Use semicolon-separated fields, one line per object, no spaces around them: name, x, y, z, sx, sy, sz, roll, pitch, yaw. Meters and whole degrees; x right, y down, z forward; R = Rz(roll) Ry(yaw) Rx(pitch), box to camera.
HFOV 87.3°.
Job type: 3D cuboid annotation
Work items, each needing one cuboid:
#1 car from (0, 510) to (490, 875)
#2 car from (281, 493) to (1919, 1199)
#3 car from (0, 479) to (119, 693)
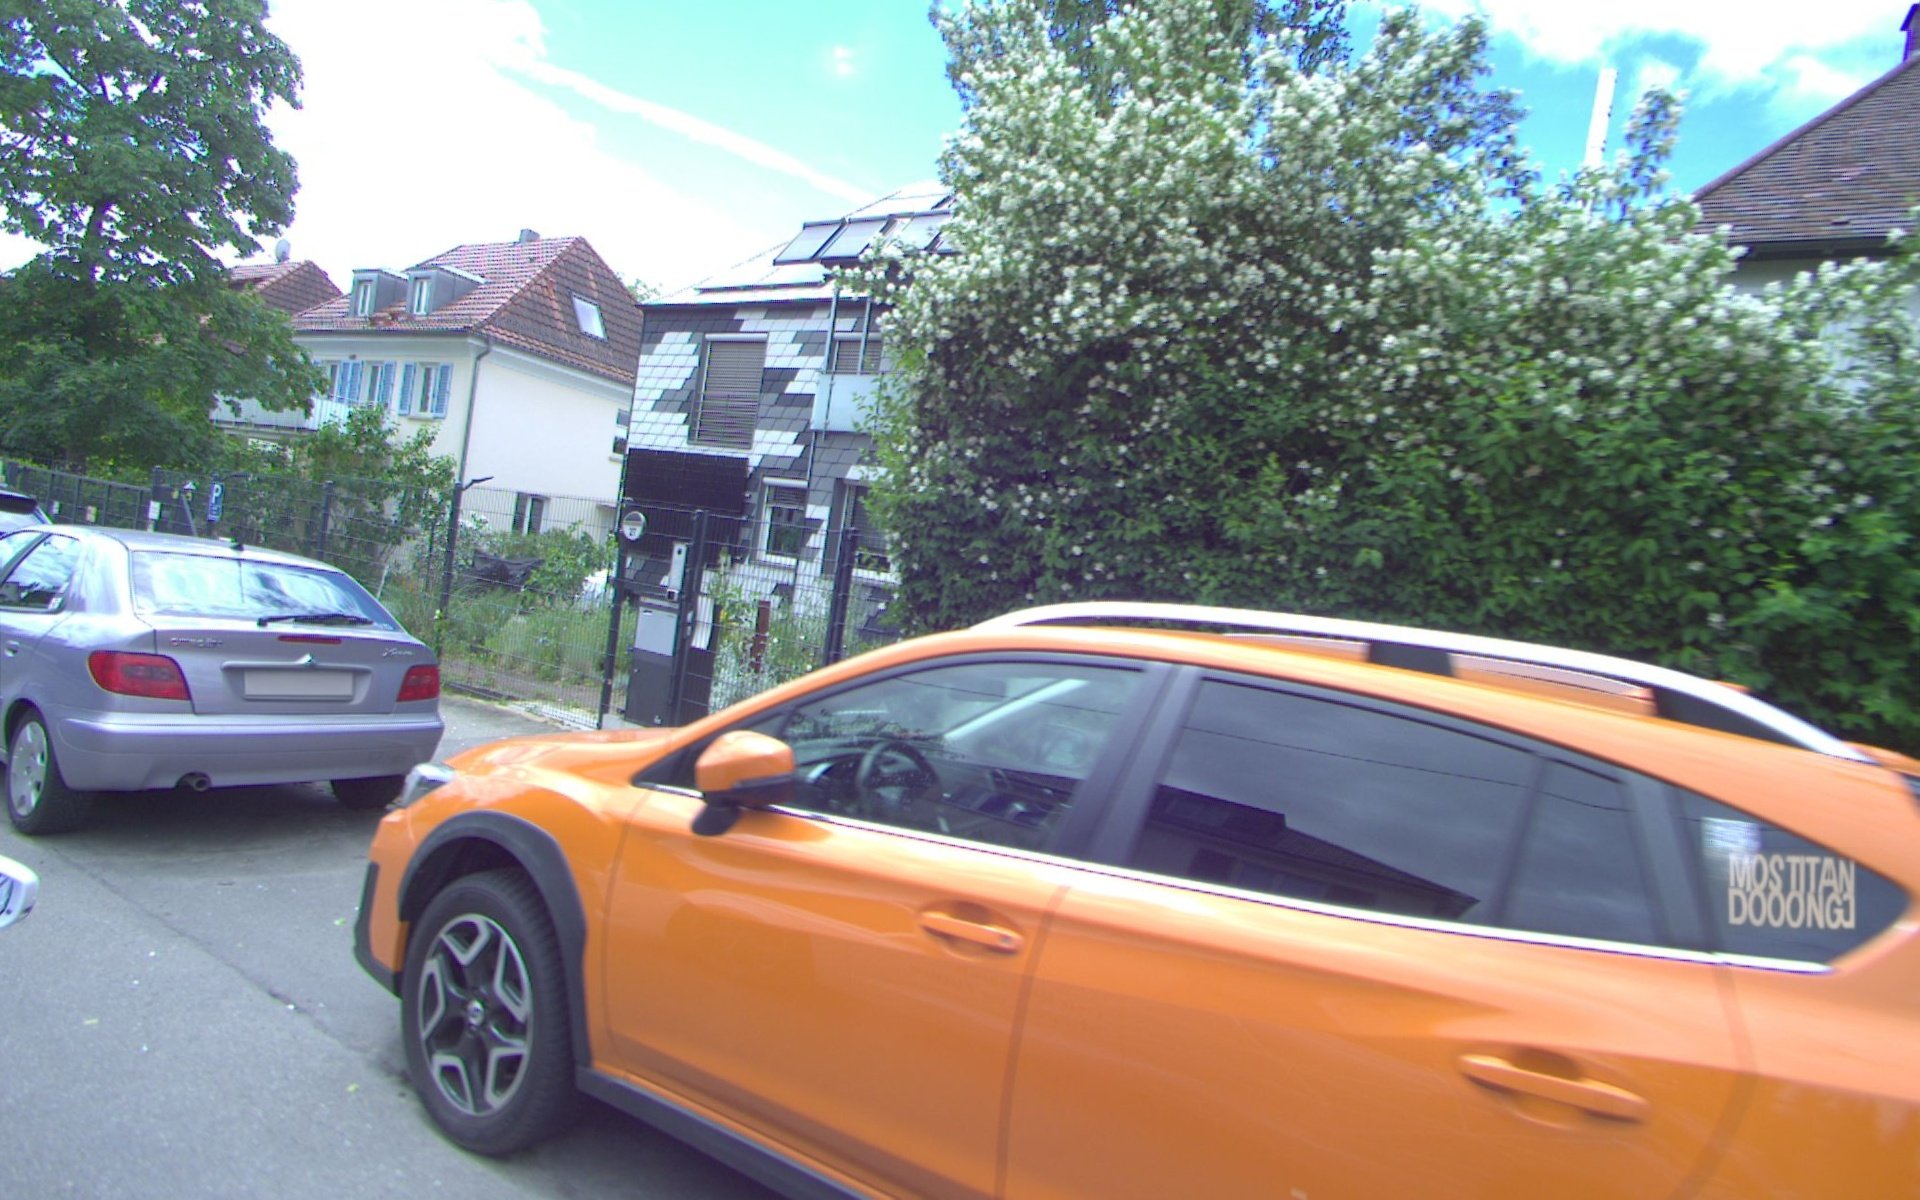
car;-4.882;0.292;5.950;4.166;1.399;1.718;7;-1;32
car;0.280;0.786;2.751;4.100;1.646;1.854;7;-1;31
car;-9.375;-0.338;8.706;4.418;1.643;1.832;7;0;32
